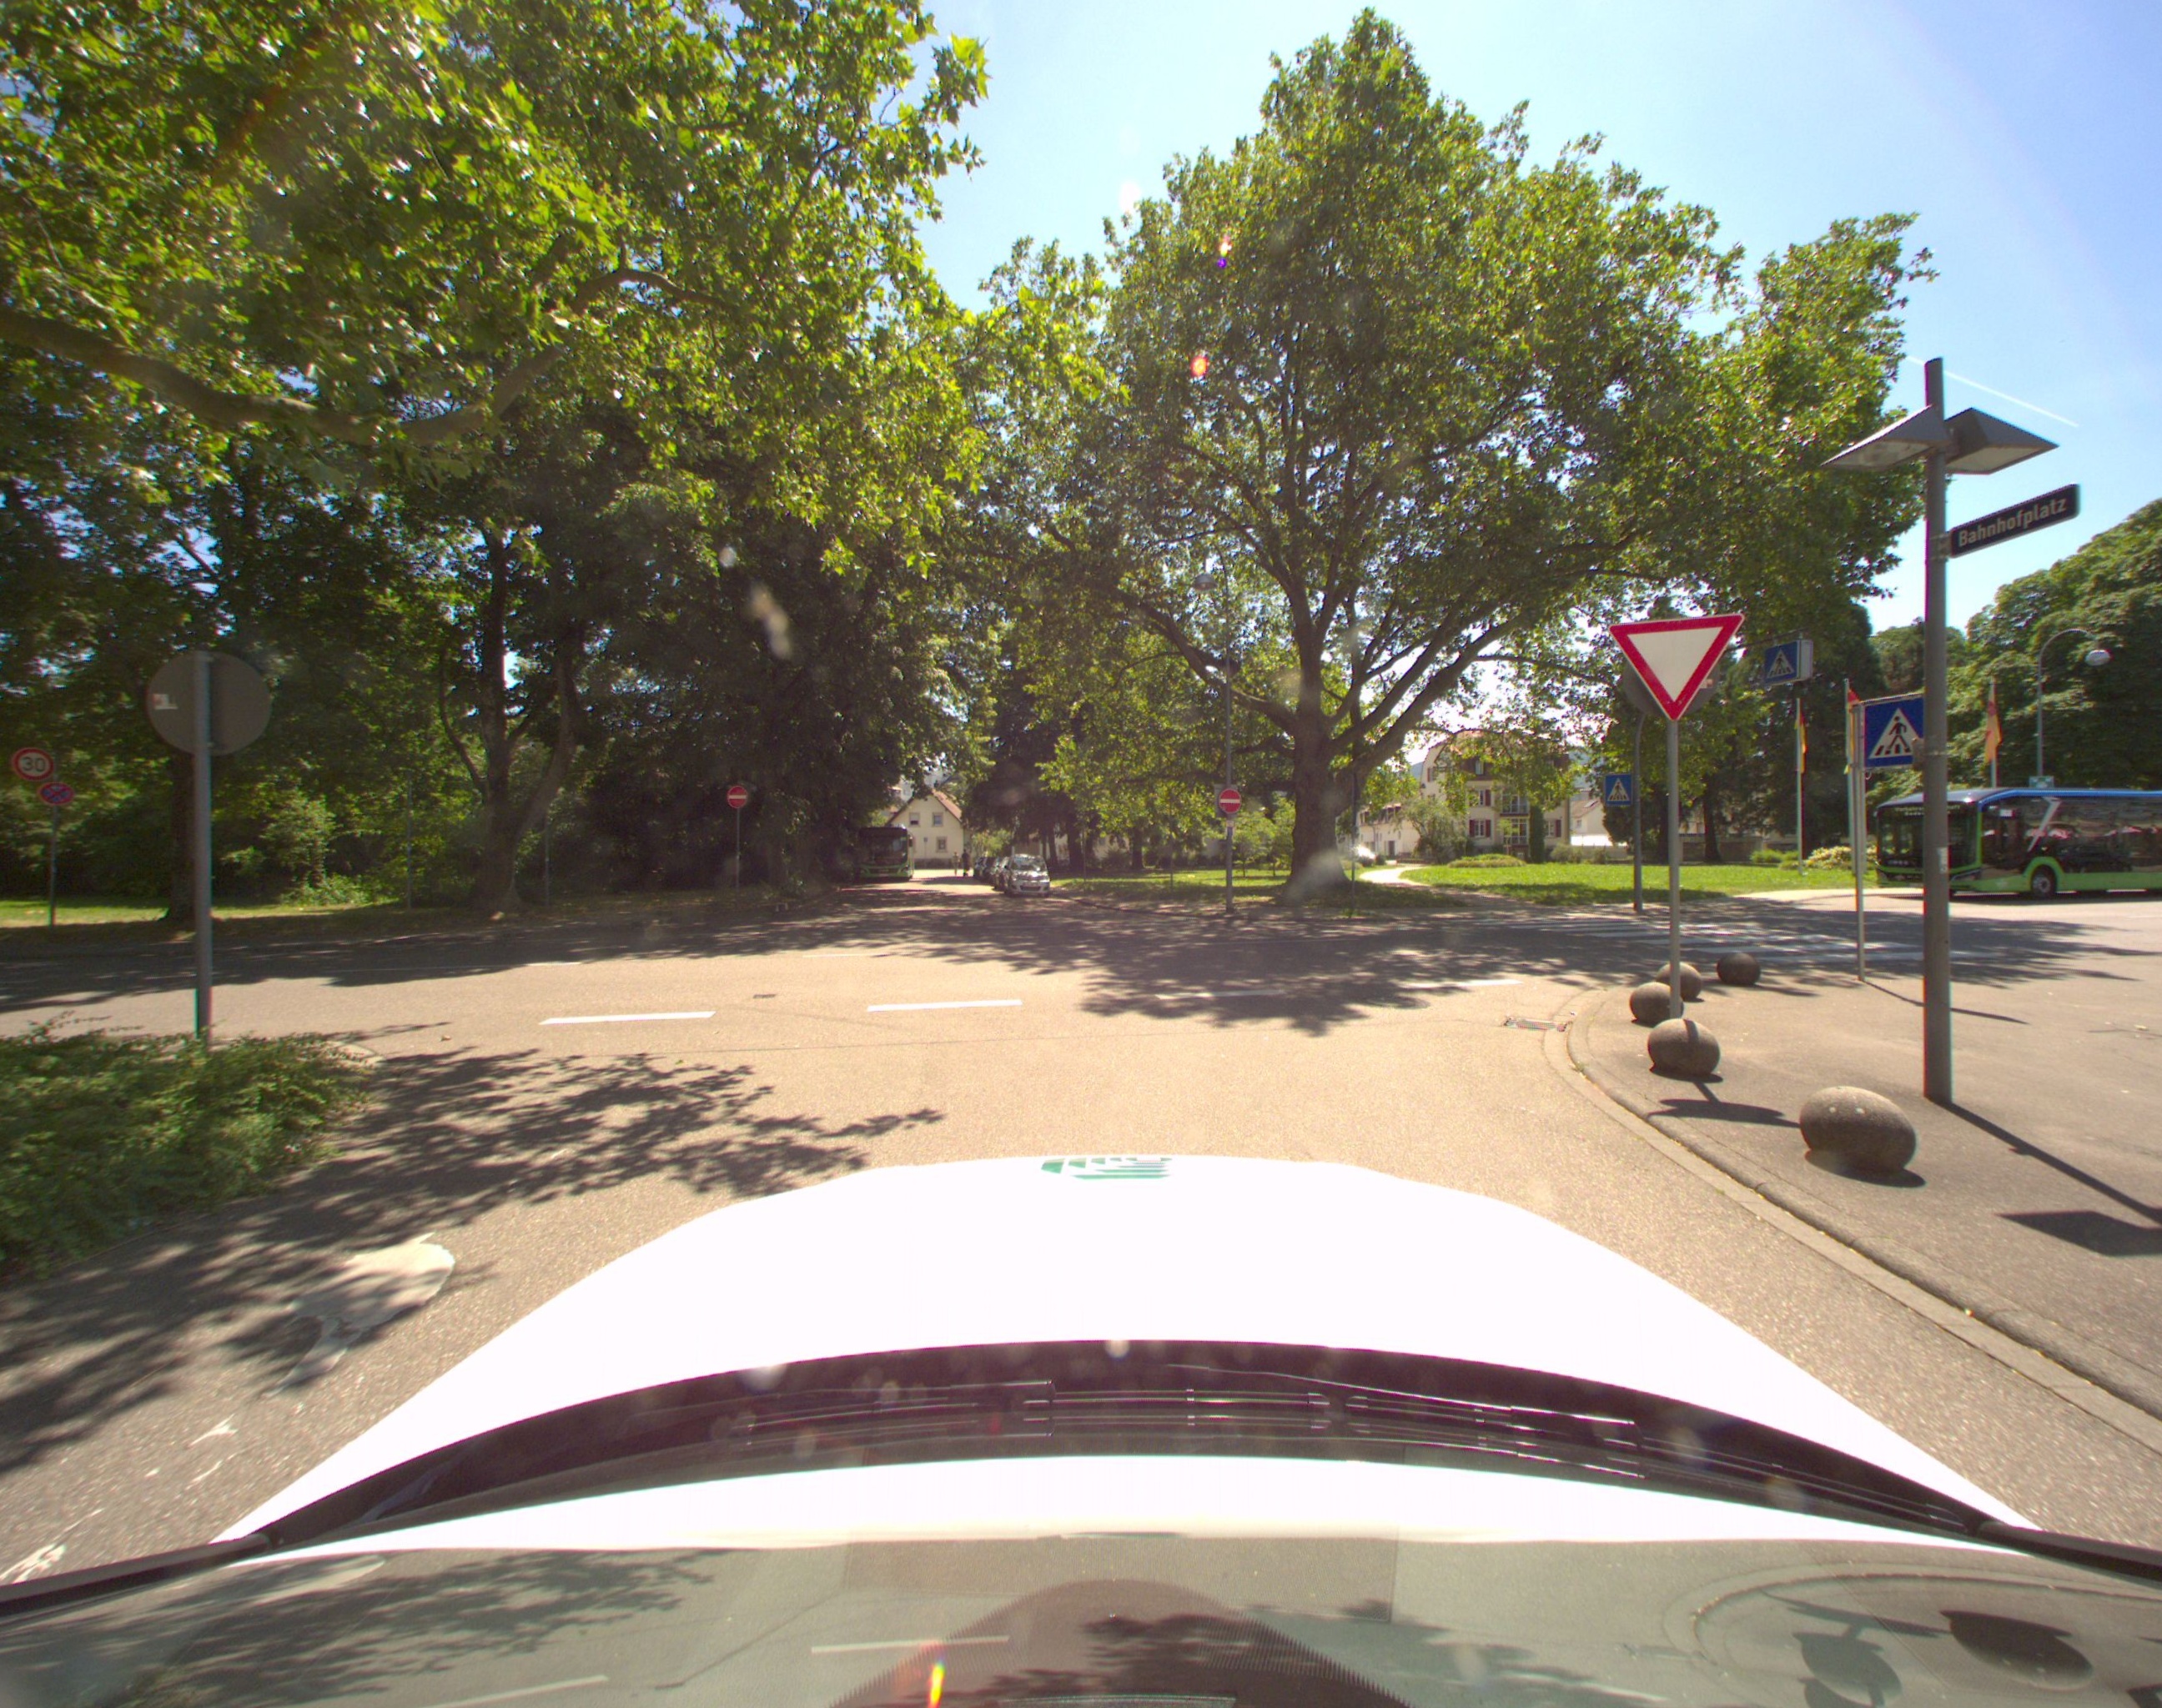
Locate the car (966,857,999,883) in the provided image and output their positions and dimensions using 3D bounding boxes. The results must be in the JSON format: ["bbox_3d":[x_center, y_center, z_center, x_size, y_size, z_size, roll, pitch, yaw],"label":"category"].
[{"bbox_3d":[-6.121,0.937,50.326,1.755,1.493,3.903,-1,0,-11],"label":"car"}]

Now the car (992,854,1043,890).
[{"bbox_3d":[-2.835,0.733,35.503,1.751,1.439,4.487,1,0,-11],"label":"car"}]

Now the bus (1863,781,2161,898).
[{"bbox_3d":[30.925,-0.499,25.517,12.391,3.283,2.807,-1,0,-12],"label":"bus"}]

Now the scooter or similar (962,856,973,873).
[{"bbox_3d":[-7.839,0.726,56.225,0.738,1.183,1.514,-1,0,-9],"label":"scooter or similar"}]

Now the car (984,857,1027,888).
[{"bbox_3d":[-3.916,0.889,41.776,1.751,1.439,4.752,-1,0,-11],"label":"car"}]

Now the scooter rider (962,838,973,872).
[{"bbox_3d":[-7.846,0.038,56.236,0.738,2.317,0.924,-1,0,-10],"label":"scooter rider"}]

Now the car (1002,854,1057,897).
[{"bbox_3d":[-1.949,0.745,29.909,1.595,1.497,3.473,1,0,-11],"label":"car"}]

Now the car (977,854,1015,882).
[{"bbox_3d":[-4.900,0.750,46.409,1.755,1.493,4.359,-1,0,-11],"label":"car"}]

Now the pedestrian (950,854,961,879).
[{"bbox_3d":[-9.048,0.888,58.803,0.718,1.802,0.939,-1,0,-5],"label":"pedestrian"}]

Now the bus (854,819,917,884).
[{"bbox_3d":[-11.592,-0.127,49.527,2.869,3.295,15.893,-1,0,-11],"label":"bus"}]
